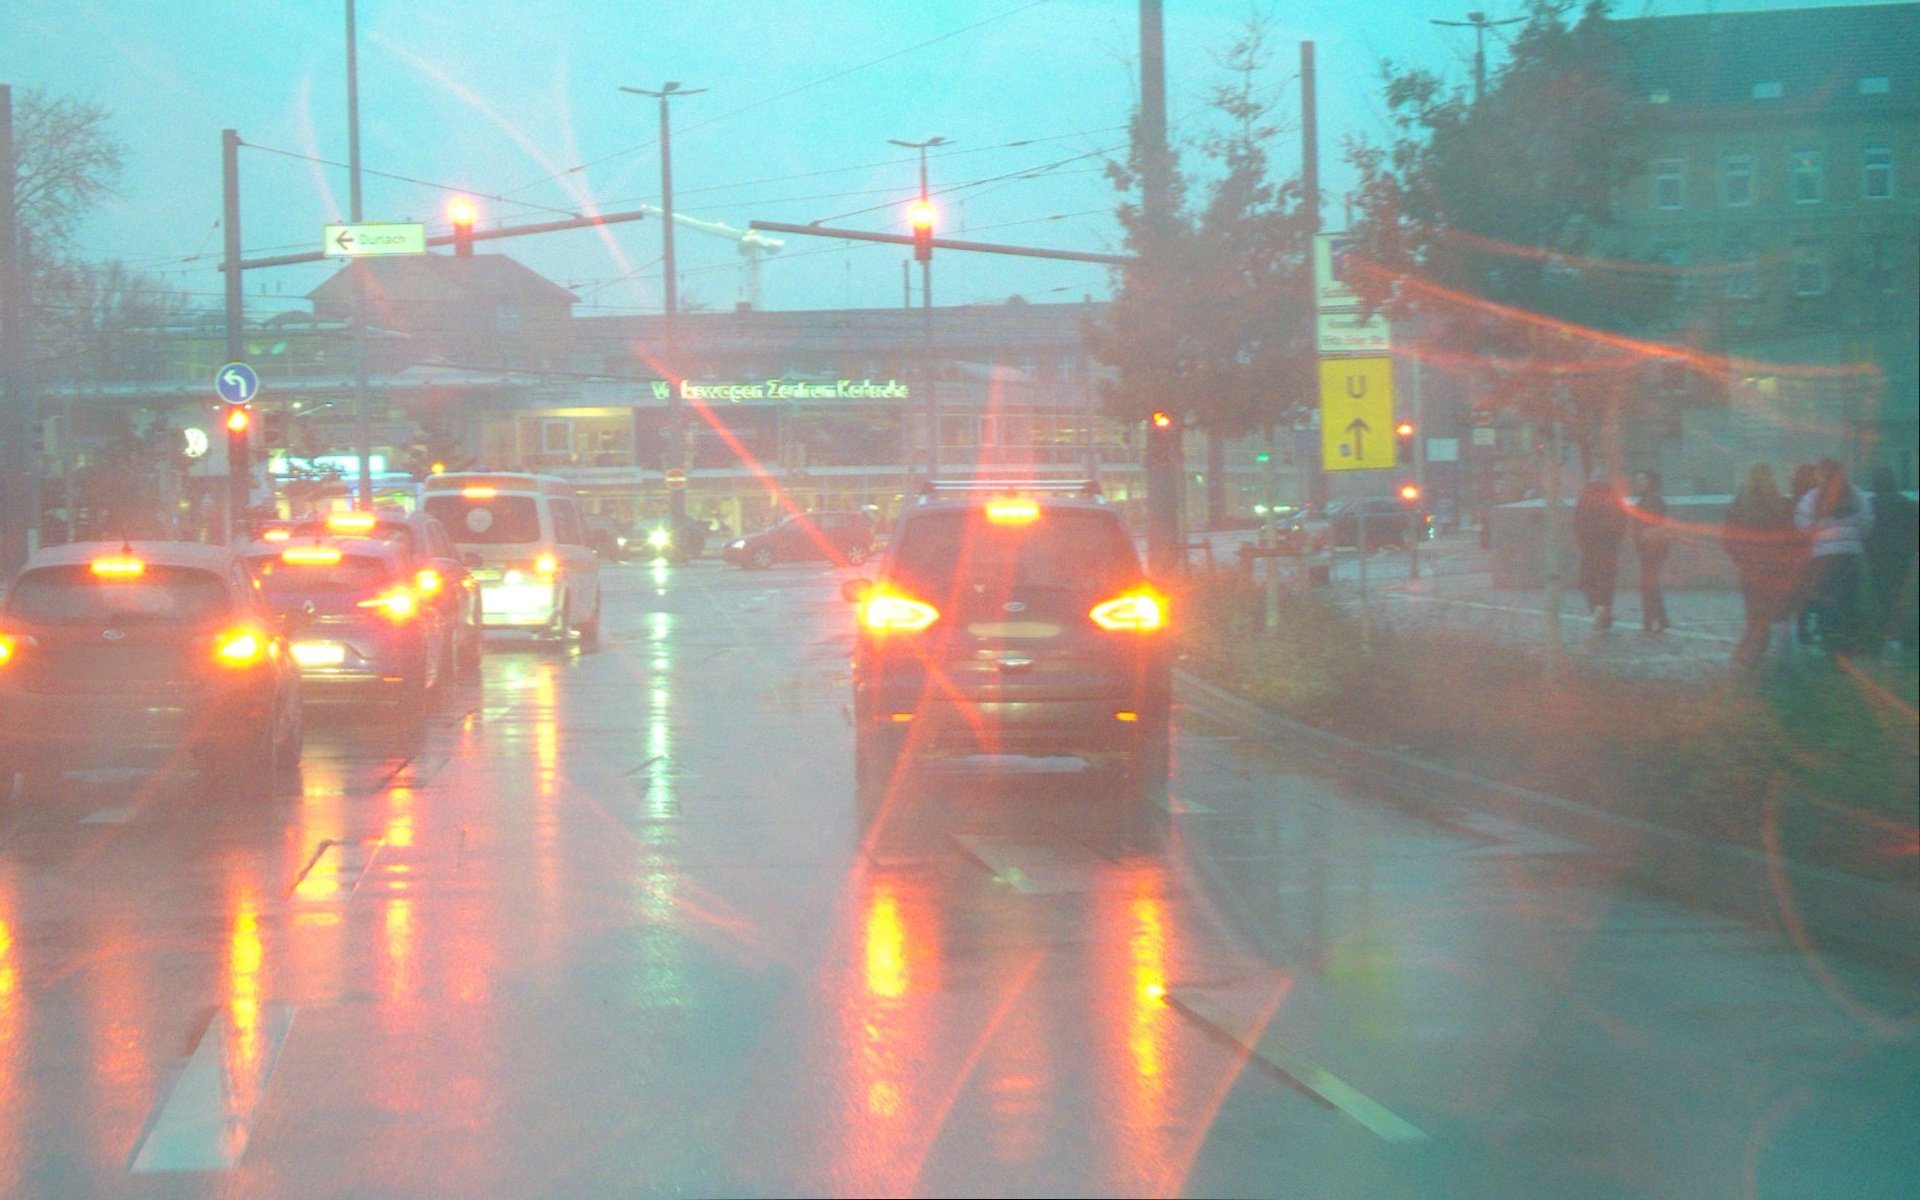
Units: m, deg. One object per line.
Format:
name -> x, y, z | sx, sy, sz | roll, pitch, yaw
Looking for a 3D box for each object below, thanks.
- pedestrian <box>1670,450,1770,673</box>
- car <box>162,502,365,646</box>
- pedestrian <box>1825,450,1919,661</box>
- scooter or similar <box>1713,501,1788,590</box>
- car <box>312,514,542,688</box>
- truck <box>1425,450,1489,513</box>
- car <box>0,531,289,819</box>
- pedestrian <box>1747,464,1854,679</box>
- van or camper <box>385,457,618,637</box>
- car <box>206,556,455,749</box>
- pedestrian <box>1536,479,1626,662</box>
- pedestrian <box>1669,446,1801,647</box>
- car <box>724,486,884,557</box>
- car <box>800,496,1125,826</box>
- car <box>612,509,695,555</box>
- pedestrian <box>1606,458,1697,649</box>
pedestrian -> 6.226, -0.319, 28.164 | 0.584, 1.775, 0.768 | -2, 1, 24
car -> -9.040, -0.372, 44.904 | 1.884, 1.766, 4.000 | -1, 1, -1
pedestrian -> 7.486, -0.366, 27.975 | 0.719, 1.682, 0.759 | -1, 1, 23
scooter or similar -> 10.976, -0.761, 47.713 | 0.513, 1.209, 1.380 | -1, 1, 34
car -> -5.259, -0.040, 34.443 | 1.785, 1.595, 4.542 | 1, 1, -3
truck -> 21.821, -5.193, 150.787 | 1.995, 2.682, 5.111 | -1, 1, 17
car -> -4.914, 0.373, 20.441 | 1.700, 1.476, 3.873 | 1, 2, -10
pedestrian -> 6.813, -0.235, 27.848 | 0.668, 1.682, 0.611 | -2, 3, 24
van or camper -> -5.626, -0.680, 42.805 | 2.202, 2.102, 4.987 | 0, 1, 0
car -> -5.050, 0.373, 28.005 | 1.658, 1.399, 4.121 | 1, 1, -6
pedestrian -> 6.715, -0.327, 37.163 | 0.808, 1.923, 0.759 | 1, 4, 24
pedestrian -> 7.022, -0.486, 31.165 | 0.851, 1.785, 0.749 | -2, 1, -24
car -> -4.172, -2.086, 91.712 | 3.986, 1.765, 2.001 | -2, 2, -10
car -> 0.056, 0.272, 21.136 | 1.778, 1.794, 4.425 | 0, 2, 1
car -> -10.116, -2.270, 113.822 | 1.813, 1.441, 3.999 | -1, 1, 8
pedestrian -> 7.423, -0.509, 36.909 | 0.808, 2.006, 0.759 | 1, 4, 24
